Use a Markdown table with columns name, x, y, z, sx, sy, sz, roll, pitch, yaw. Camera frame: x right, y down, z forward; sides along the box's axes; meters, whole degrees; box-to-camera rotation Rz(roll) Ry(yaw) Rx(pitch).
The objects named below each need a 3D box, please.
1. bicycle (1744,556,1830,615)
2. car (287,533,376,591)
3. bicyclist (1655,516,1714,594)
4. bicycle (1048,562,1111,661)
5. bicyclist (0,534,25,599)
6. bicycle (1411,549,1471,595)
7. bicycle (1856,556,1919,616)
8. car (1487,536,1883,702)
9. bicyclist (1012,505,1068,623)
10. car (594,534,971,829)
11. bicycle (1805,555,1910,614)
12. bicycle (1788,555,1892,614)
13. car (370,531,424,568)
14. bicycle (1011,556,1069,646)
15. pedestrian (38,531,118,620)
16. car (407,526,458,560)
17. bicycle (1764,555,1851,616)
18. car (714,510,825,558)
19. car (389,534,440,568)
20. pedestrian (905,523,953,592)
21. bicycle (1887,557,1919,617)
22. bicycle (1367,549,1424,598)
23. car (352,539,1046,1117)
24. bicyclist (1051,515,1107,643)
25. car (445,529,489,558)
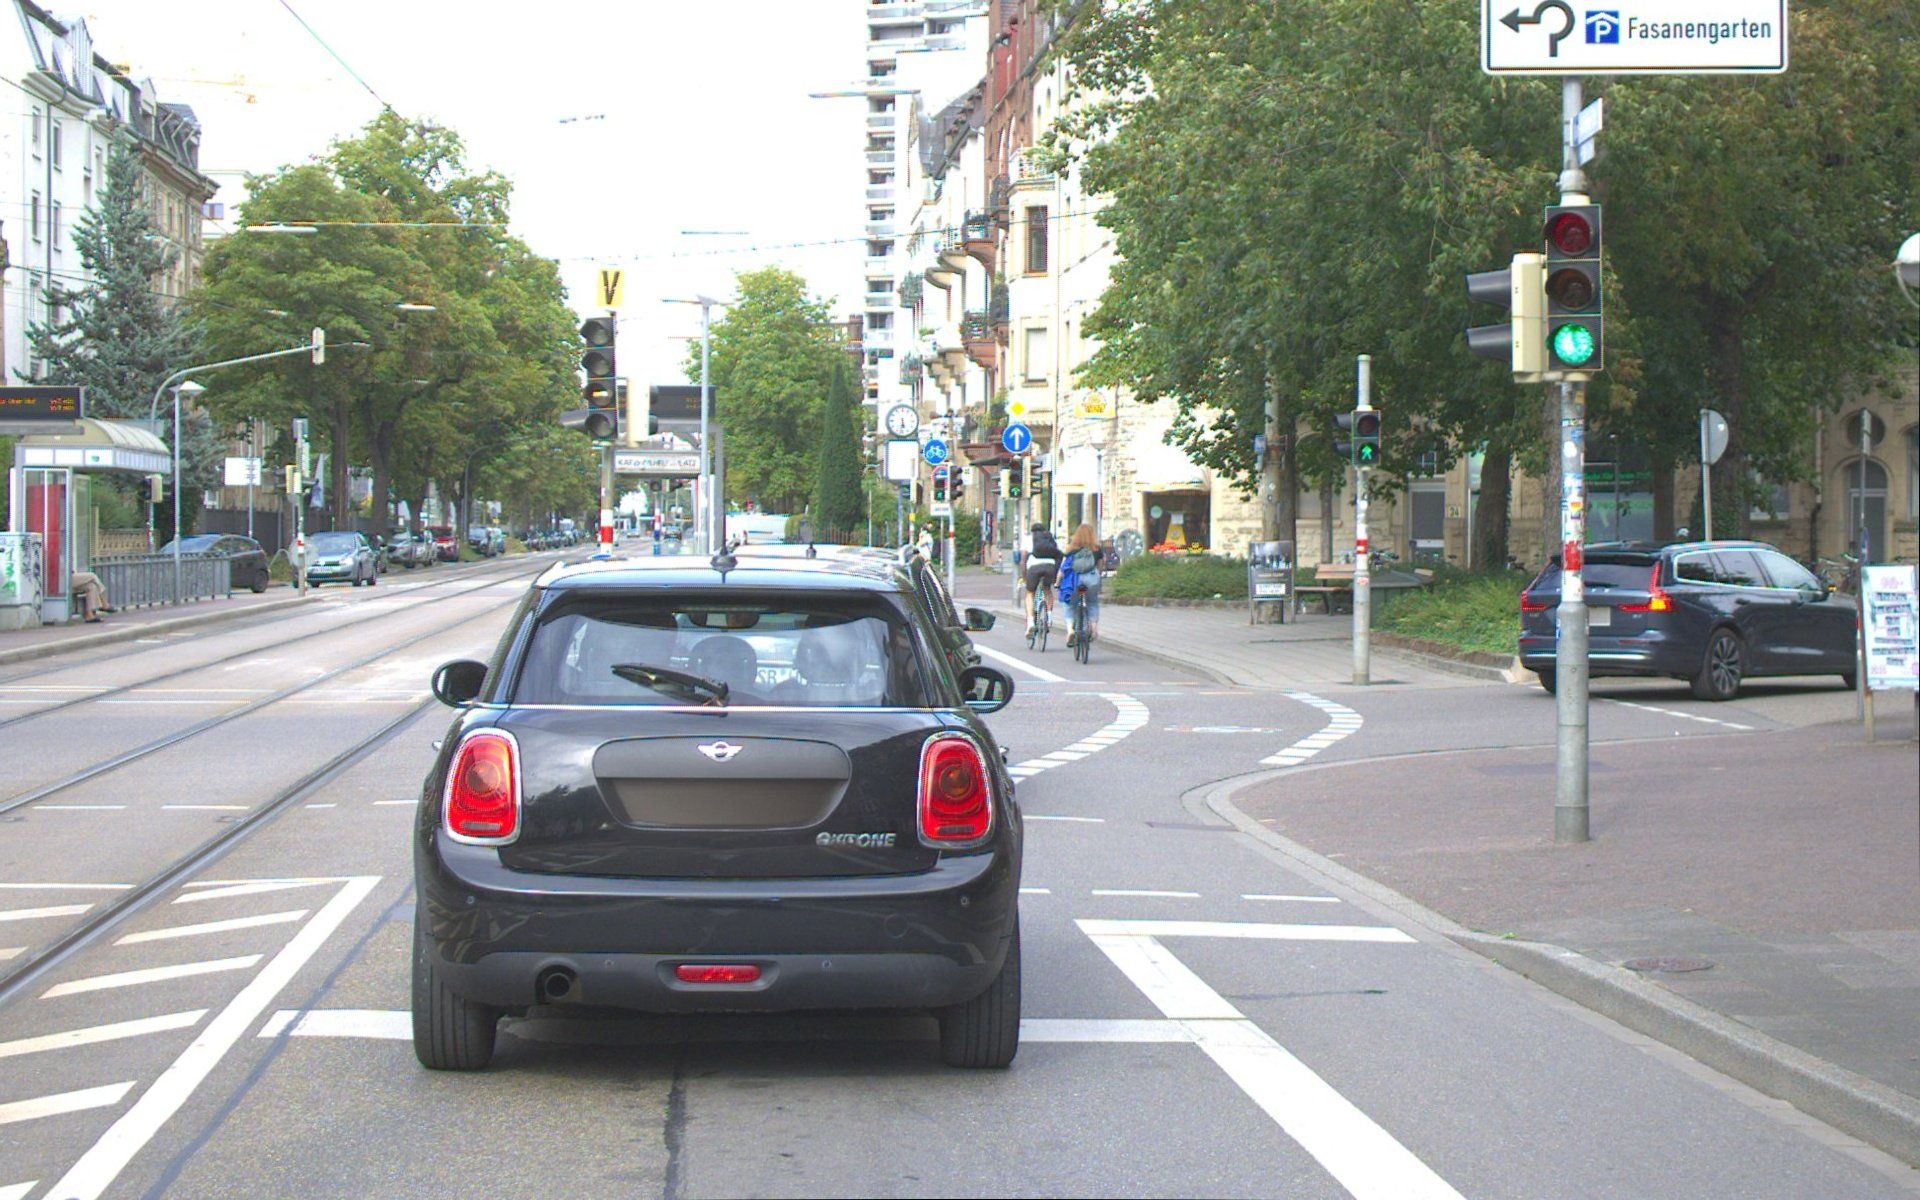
| name | x | y | z | sx | sy | sz | roll | pitch | yaw |
| --- | --- | --- | --- | --- | --- | --- | --- | --- | --- |
| bicycle | 16.340 | -0.291 | 67.920 | 1.888 | 1.124 | 0.533 | -2 | 2 | -35 |
| car | -16.667 | -1.022 | 91.334 | 1.751 | 1.436 | 4.001 | 2 | 1 | -2 |
| bicyclist | 13.749 | -0.867 | 65.247 | 0.615 | 1.467 | 0.915 | -1 | 2 | -34 |
| bicycle | 1.461 | 0.125 | 42.134 | 0.598 | 1.166 | 1.697 | 0 | 1 | -4 |
| bicyclist | -19.826 | -0.694 | 71.359 | 0.660 | 1.335 | 0.836 | 0 | 1 | -4 |
| bicycle | 10.388 | -0.613 | 74.226 | 0.532 | 0.969 | 1.645 | 1 | 1 | 38 |
| bicycle | 17.950 | -0.269 | 65.168 | 1.887 | 1.124 | 0.583 | 0 | 1 | -21 |
| car | 6.859 | 0.129 | 32.212 | 1.756 | 1.436 | 4.469 | 1 | 1 | 40 |
| bicyclist | 1.059 | -0.488 | 45.804 | 0.684 | 1.558 | 0.998 | 0 | 1 | -2 |
| car | -0.992 | 0.381 | 19.594 | 1.926 | 1.504 | 4.001 | 0 | 1 | -2 |
| bicycle | 17.277 | -0.295 | 66.191 | 1.887 | 1.124 | 0.599 | 0 | 1 | -12 |
| bicycle | 17.095 | -0.307 | 66.767 | 1.887 | 1.124 | 0.563 | 0 | 1 | -12 |
| car | -21.665 | -1.954 | 132.351 | 1.766 | 1.390 | 4.001 | 0 | 1 | -5 |
| bicycle | 1.058 | 0.003 | 45.786 | 0.684 | 1.166 | 1.697 | 0 | 1 | -2 |
| pedestrian | -12.893 | -0.360 | 50.280 | 1.058 | 1.289 | 0.986 | 0 | 1 | -9 |
| car | -24.357 | -2.628 | 158.952 | 1.993 | 1.546 | 4.001 | 0 | 1 | -4 |
| bicycle | 16.633 | -0.286 | 67.452 | 1.888 | 1.124 | 0.533 | -2 | 2 | -34 |
| car | -9.163 | -3.188 | 165.484 | 5.026 | 2.265 | 2.395 | -1 | 2 | -44 |
| car | -22.203 | -2.007 | 140.008 | 1.766 | 1.390 | 4.001 | 0 | 1 | -5 |
| pedestrian | -0.776 | -1.056 | 85.536 | 0.732 | 1.668 | 0.833 | -2 | 2 | 43 |
| bicycle | 18.306 | -0.250 | 64.430 | 1.887 | 1.124 | 0.595 | 0 | 1 | -26 |
| bicycle | 9.512 | -0.580 | 75.015 | 0.449 | 1.051 | 1.645 | 1 | 1 | 38 |
| car | -0.759 | 0.560 | 10.925 | 1.751 | 1.436 | 4.001 | 2 | 1 | -2 |
| bicyclist | 1.453 | -0.267 | 42.122 | 0.594 | 1.545 | 1.014 | 0 | 1 | -4 |
| car | -26.064 | -2.992 | 181.862 | 1.993 | 1.546 | 4.001 | 0 | 1 | -4 |
